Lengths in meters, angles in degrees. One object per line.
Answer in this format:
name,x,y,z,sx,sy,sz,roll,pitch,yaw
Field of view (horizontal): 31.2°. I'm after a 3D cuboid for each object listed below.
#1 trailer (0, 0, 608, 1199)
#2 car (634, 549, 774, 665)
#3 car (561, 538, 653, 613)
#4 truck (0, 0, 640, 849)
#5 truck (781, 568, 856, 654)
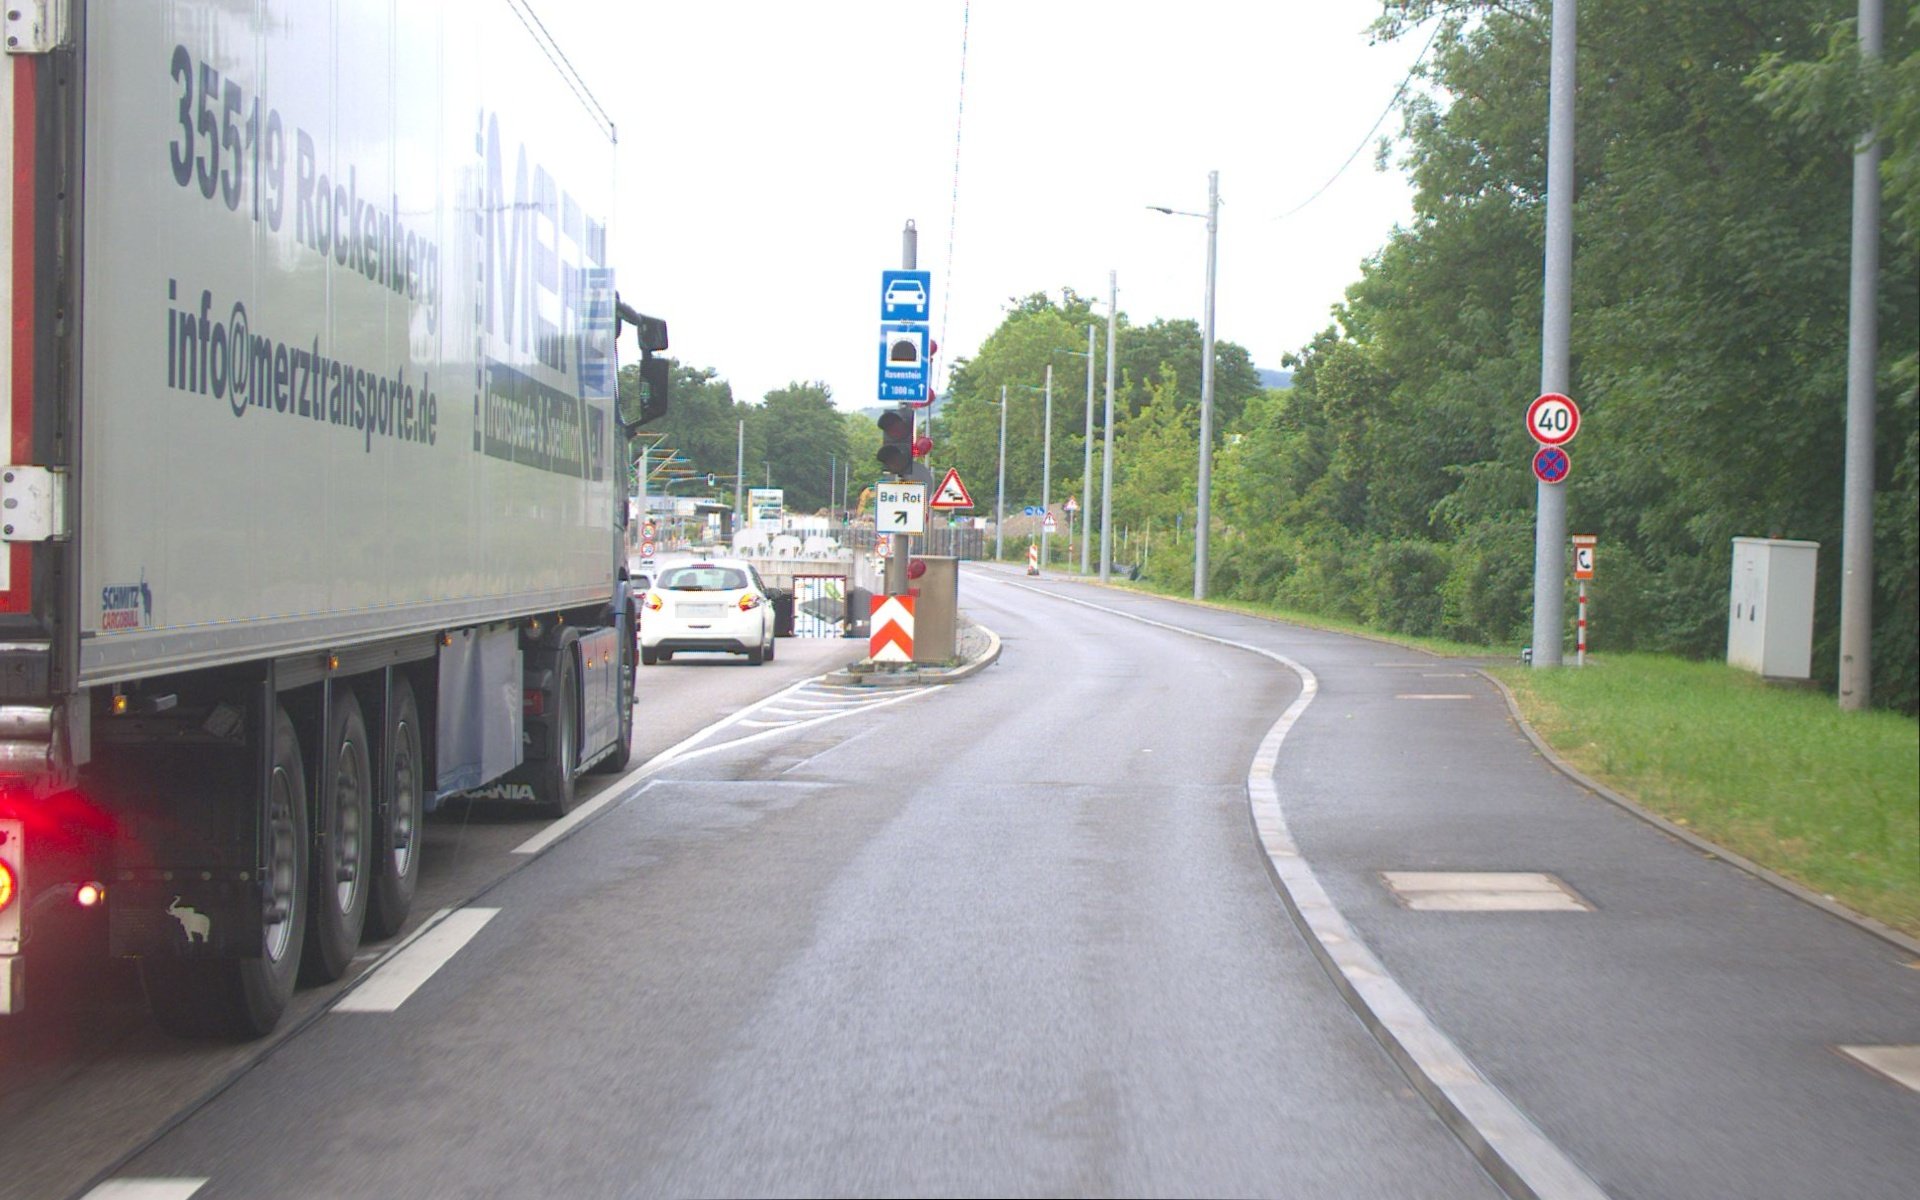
trailer,-3.337,-0.837,13.677,2.762,4.238,13.184,0,1,-1
car,-3.566,0.066,48.453,1.810,1.419,4.001,1,3,-2
car,-7.552,-0.543,73.811,1.681,1.441,4.001,1,3,-2
truck,-3.466,-0.954,19.910,2.756,4.190,6.307,0,1,-1
truck,-6.804,0.475,166.382,3.518,4.026,8.075,1,1,-2
